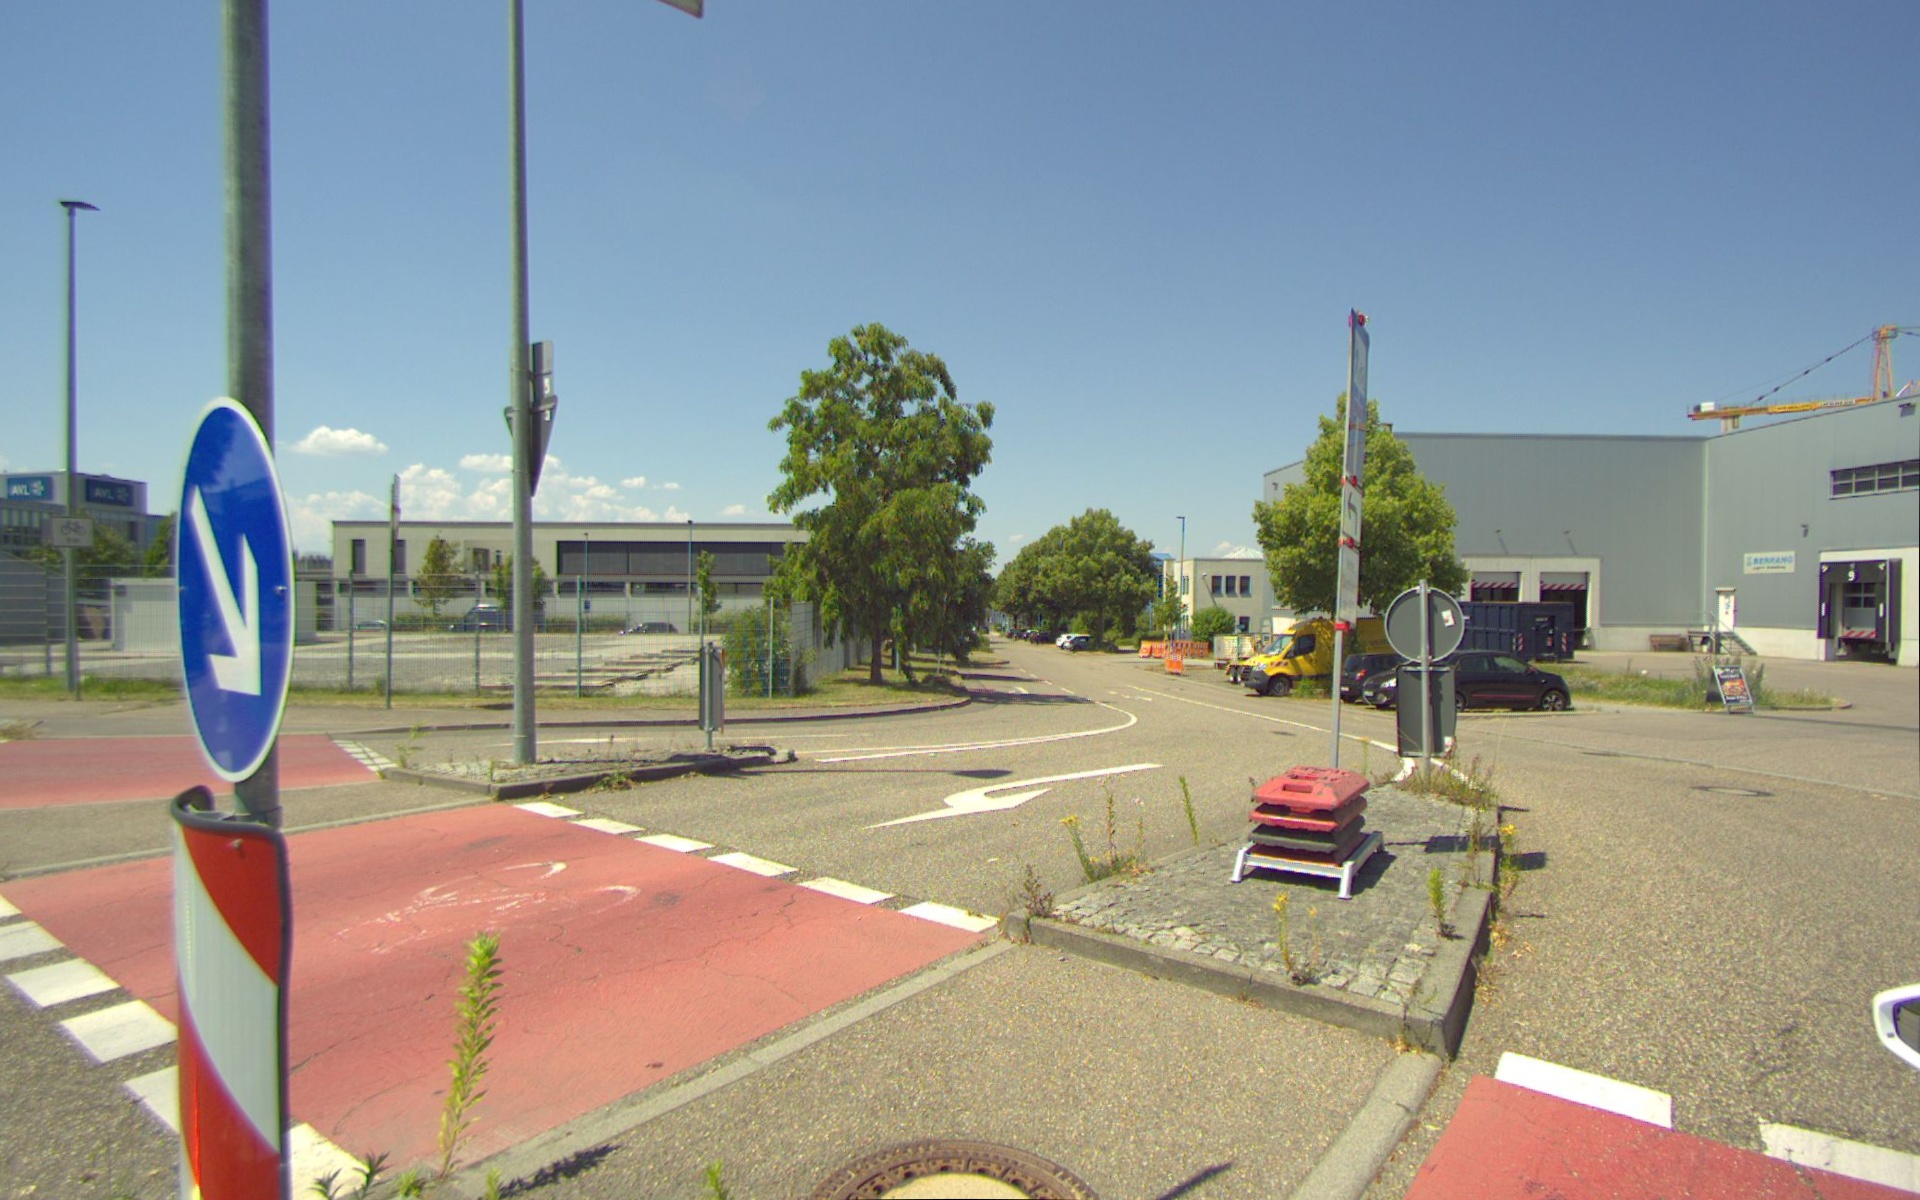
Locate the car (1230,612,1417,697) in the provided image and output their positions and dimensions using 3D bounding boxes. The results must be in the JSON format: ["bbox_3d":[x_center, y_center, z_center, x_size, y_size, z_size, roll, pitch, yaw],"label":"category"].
[{"bbox_3d":[12.376,1.809,34.419,5.686,2.769,1.999,0,0,-3],"label":"car"}]

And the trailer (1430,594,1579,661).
[{"bbox_3d":[24.038,1.123,44.845,2.615,2.453,7.413,2,2,1],"label":"trailer"}]

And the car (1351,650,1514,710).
[{"bbox_3d":[12.714,2.142,27.152,3.710,1.527,1.590,1,-2,-4],"label":"car"}]

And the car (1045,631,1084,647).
[{"bbox_3d":[10.005,3.704,96.254,3.461,1.372,1.537,-1,-1,-6],"label":"car"}]

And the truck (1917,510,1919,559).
[{"bbox_3d":[15.254,0.325,11.521,6.303,3.177,2.594,-1,-2,-6],"label":"truck"}]

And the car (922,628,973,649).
[{"bbox_3d":[-1.007,3.104,81.265,3.981,1.514,1.728,2,-2,-4],"label":"car"}]

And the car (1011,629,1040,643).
[{"bbox_3d":[9.524,5.302,146.681,3.873,1.860,1.764,2,2,-9],"label":"car"}]

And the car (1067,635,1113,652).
[{"bbox_3d":[11.192,3.764,86.731,3.621,1.372,1.644,-1,-1,-6],"label":"car"}]

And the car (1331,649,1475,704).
[{"bbox_3d":[12.993,2.233,29.602,3.544,1.498,1.627,1,-2,-3],"label":"car"}]

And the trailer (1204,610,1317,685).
[{"bbox_3d":[12.391,1.927,41.942,2.614,2.895,5.516,-1,-1,-5],"label":"trailer"}]

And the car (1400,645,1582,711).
[{"bbox_3d":[12.978,1.892,24.677,3.600,1.482,1.627,-1,-2,-1],"label":"car"}]
